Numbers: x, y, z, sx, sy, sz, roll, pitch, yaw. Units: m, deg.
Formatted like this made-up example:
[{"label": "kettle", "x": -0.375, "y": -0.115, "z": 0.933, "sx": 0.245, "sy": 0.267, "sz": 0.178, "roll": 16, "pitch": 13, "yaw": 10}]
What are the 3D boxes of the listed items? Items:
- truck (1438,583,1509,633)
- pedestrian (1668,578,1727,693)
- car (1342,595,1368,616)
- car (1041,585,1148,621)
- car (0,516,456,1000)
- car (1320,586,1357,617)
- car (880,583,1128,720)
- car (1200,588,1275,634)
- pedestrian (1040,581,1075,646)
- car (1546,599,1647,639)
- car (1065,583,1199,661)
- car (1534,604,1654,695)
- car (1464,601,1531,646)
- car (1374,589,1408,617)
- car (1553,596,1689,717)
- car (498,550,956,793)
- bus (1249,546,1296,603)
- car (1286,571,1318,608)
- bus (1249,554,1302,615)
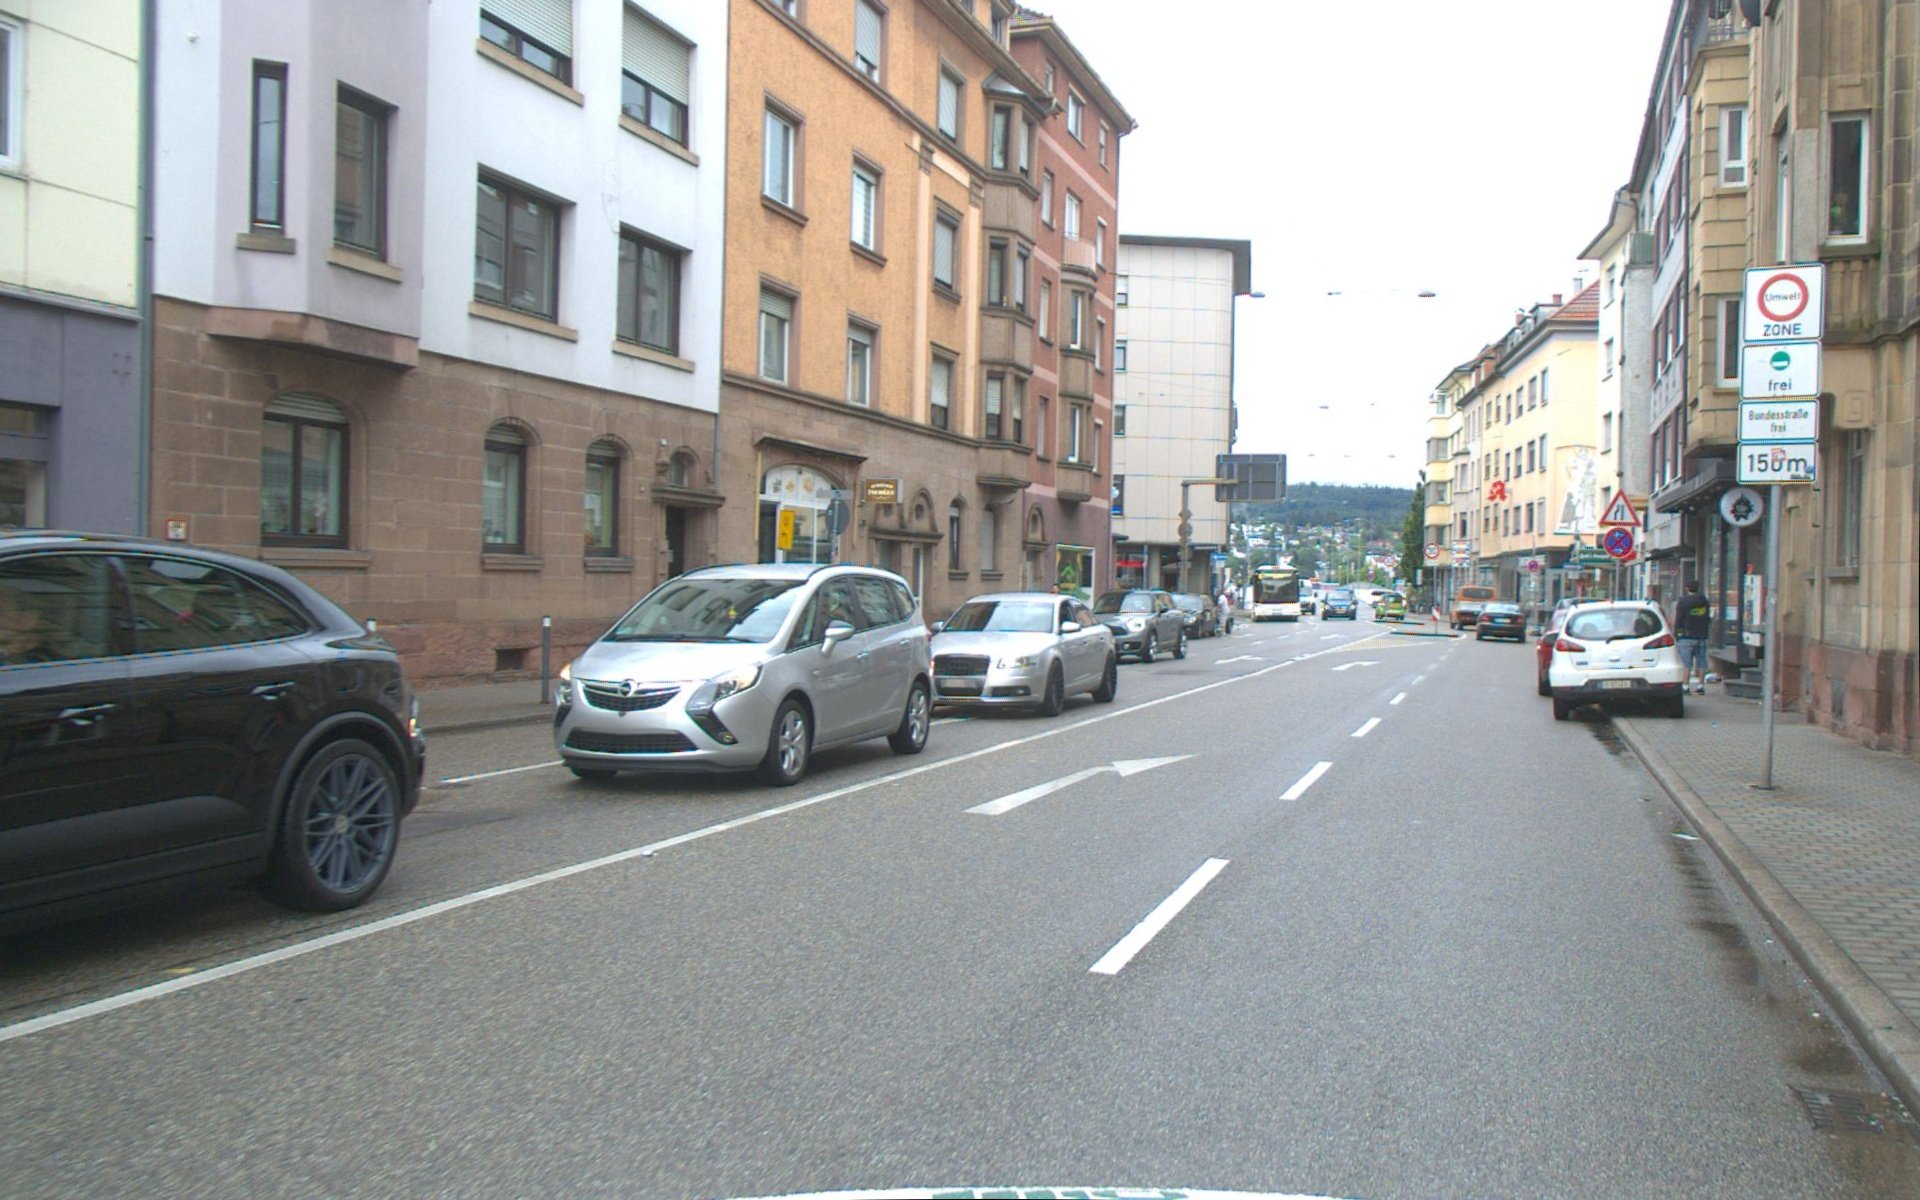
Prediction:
[{"label": "truck", "x": 23.033, "y": 0.360, "z": 74.368, "sx": 2.348, "sy": 2.167, "sz": 5.319, "roll": 1, "pitch": 0, "yaw": 10}, {"label": "pedestrian", "x": 11.808, "y": 0.562, "z": 26.500, "sx": 0.728, "sy": 1.810, "sz": 0.796, "roll": 1, "pitch": 0, "yaw": 16}, {"label": "car", "x": 31.522, "y": 0.451, "z": 132.083, "sx": 1.716, "sy": 1.680, "sz": 4.003, "roll": 1, "pitch": 0, "yaw": 10}, {"label": "car", "x": 6.143, "y": 0.141, "z": 75.693, "sx": 4.544, "sy": 1.559, "sz": 1.902, "roll": 1, "pitch": 0, "yaw": -10}, {"label": "car", "x": -4.027, "y": 0.514, "z": 6.006, "sx": 1.902, "sy": 1.611, "sz": 4.607, "roll": 1, "pitch": 0, "yaw": 18}, {"label": "car", "x": 21.221, "y": 0.098, "z": 92.778, "sx": 1.717, "sy": 1.680, "sz": 4.310, "roll": 1, "pitch": 0, "yaw": 9}, {"label": "car", "x": 0.690, "y": 0.581, "z": 20.754, "sx": 1.902, "sy": 1.496, "sz": 4.561, "roll": 1, "pitch": 0, "yaw": 18}, {"label": "car", "x": 9.915, "y": 0.379, "z": 58.869, "sx": 1.812, "sy": 1.421, "sz": 4.794, "roll": 4, "pitch": 1, "yaw": 19}, {"label": "pedestrian", "x": 2.662, "y": 0.358, "z": 45.251, "sx": 0.824, "sy": 1.708, "sz": 0.854, "roll": 3, "pitch": 0, "yaw": 6}, {"label": "car", "x": 26.914, "y": 0.784, "z": 70.033, "sx": 3.743, "sy": 1.601, "sz": 1.938, "roll": 1, "pitch": 0, "yaw": 13}, {"label": "car", "x": 3.942, "y": 0.490, "z": 37.258, "sx": 1.940, "sy": 1.623, "sz": 4.338, "roll": 1, "pitch": 0, "yaw": 21}, {"label": "car", "x": 10.913, "y": 0.794, "z": 28.692, "sx": 1.707, "sy": 1.393, "sz": 4.317, "roll": 1, "pitch": 1, "yaw": 18}, {"label": "car", "x": 19.191, "y": 0.819, "z": 59.188, "sx": 1.716, "sy": 1.505, "sz": 4.003, "roll": 1, "pitch": 0, "yaw": 10}, {"label": "car", "x": 26.731, "y": 0.177, "z": 102.676, "sx": 1.716, "sy": 1.680, "sz": 4.003, "roll": 1, "pitch": 0, "yaw": 10}, {"label": "car", "x": 9.256, "y": 0.736, "z": 23.404, "sx": 1.613, "sy": 1.520, "sz": 4.449, "roll": 1, "pitch": 0, "yaw": 20}, {"label": "car", "x": -1.638, "y": 0.484, "z": 13.472, "sx": 1.902, "sy": 1.611, "sz": 4.523, "roll": 1, "pitch": 0, "yaw": 18}, {"label": "bus", "x": 19.233, "y": -1.495, "z": 102.094, "sx": 2.667, "sy": 3.244, "sz": 9.300, "roll": 1, "pitch": 0, "yaw": 10}, {"label": "car", "x": 24.390, "y": -0.711, "z": 117.898, "sx": 2.042, "sy": 2.478, "sz": 6.358, "roll": 1, "pitch": 0, "yaw": 13}, {"label": "bus", "x": 17.692, "y": -0.824, "z": 93.063, "sx": 2.699, "sy": 3.244, "sz": 8.919, "roll": 1, "pitch": 0, "yaw": 10}]
